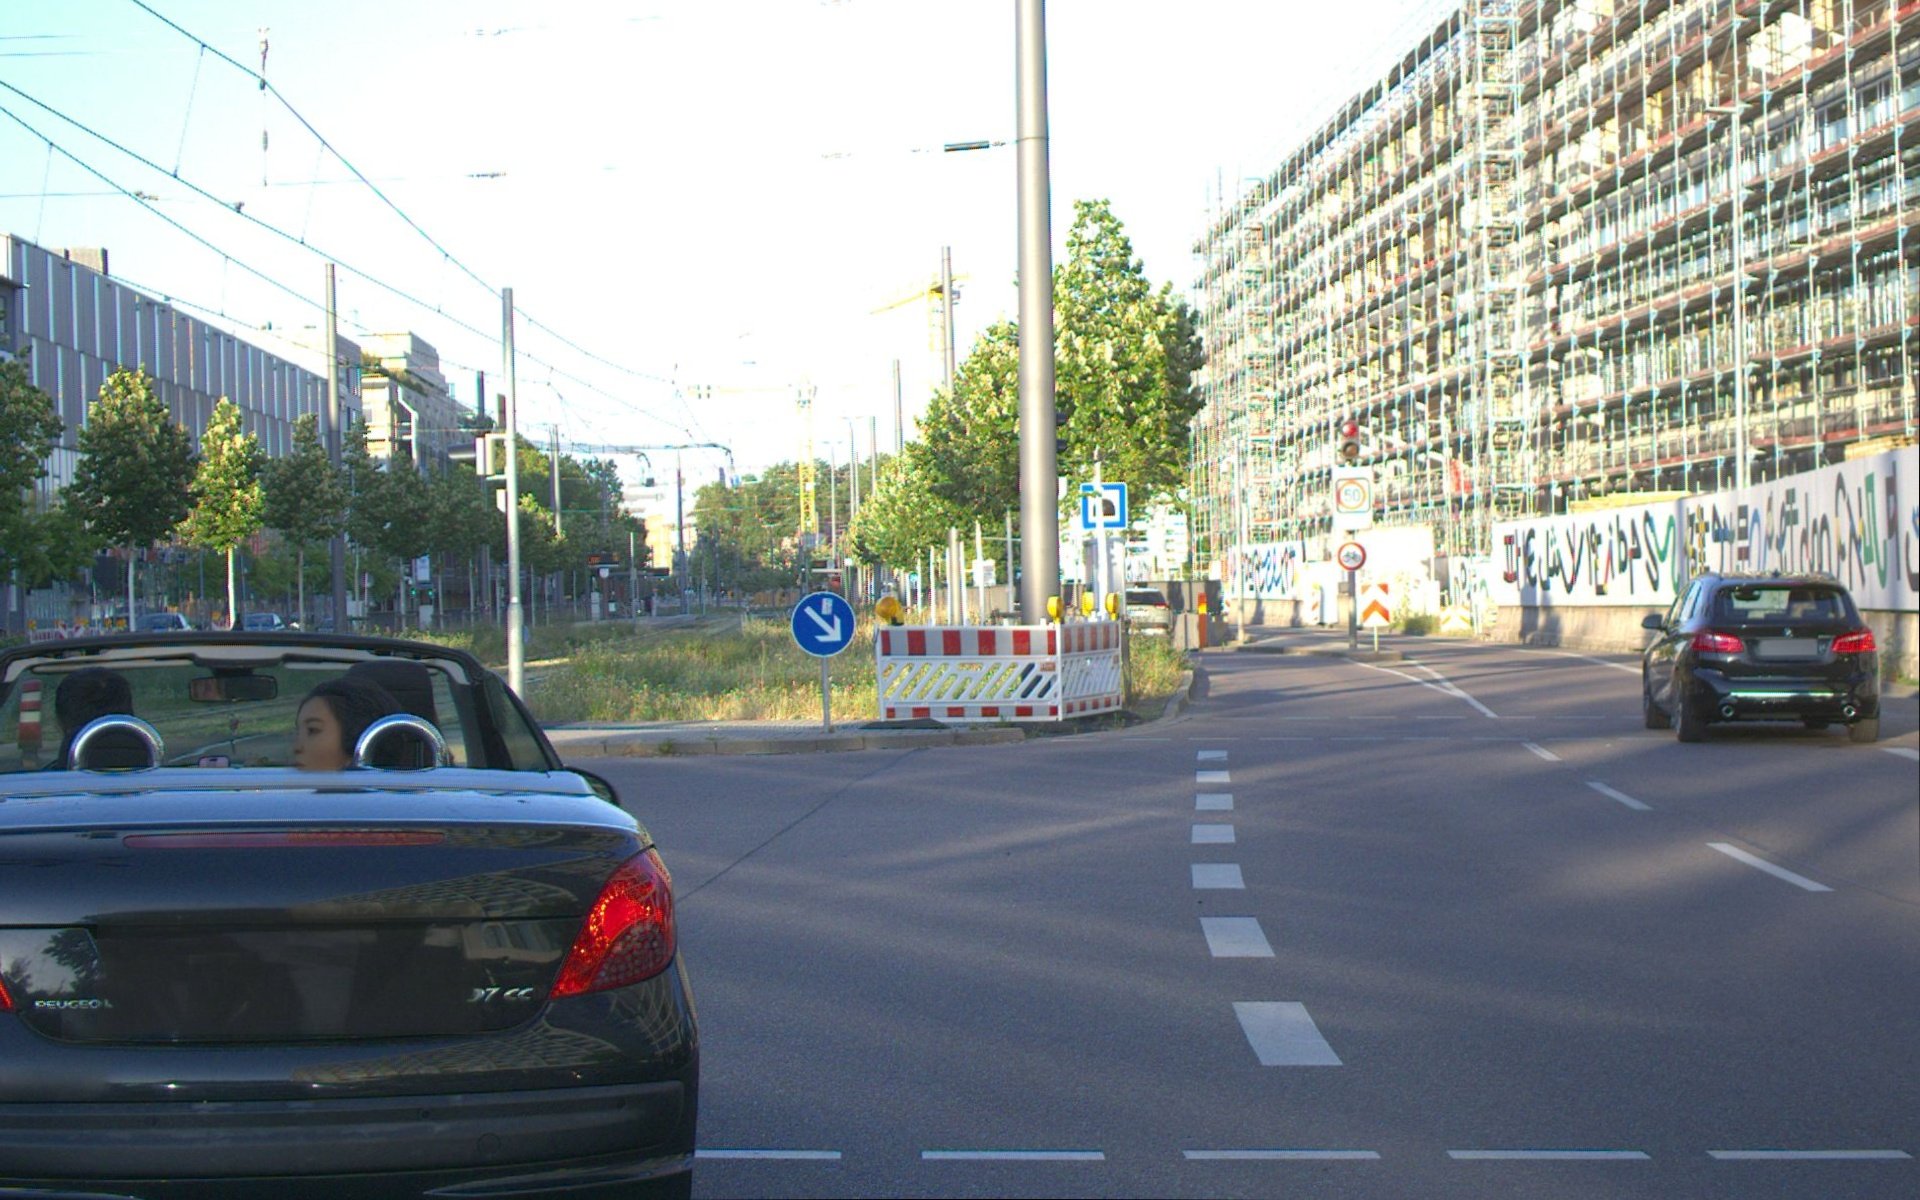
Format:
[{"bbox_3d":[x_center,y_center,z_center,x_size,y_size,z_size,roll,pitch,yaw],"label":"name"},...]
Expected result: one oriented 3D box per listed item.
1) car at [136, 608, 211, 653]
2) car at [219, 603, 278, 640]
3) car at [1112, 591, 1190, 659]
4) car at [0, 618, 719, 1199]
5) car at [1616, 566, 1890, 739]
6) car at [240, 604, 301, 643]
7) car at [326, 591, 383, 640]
[{"bbox_3d":[-26.111,1.005,114.257,1.657,1.426,3.895,1,1,-1],"label":"car"},{"bbox_3d":[-29.293,0.879,141.567,1.657,1.426,3.895,1,1,-1],"label":"car"},{"bbox_3d":[4.904,0.627,88.644,1.834,1.667,4.282,0,1,1],"label":"car"},{"bbox_3d":[-1.756,0.749,8.229,1.673,1.347,4.001,0,1,-14],"label":"car"},{"bbox_3d":[7.429,0.444,32.637,1.821,1.513,4.791,0,0,4],"label":"car"},{"bbox_3d":[-26.935,0.908,134.448,1.657,1.426,3.895,1,1,-1],"label":"car"},{"bbox_3d":[-25.031,0.624,142.208,1.657,1.957,4.266,1,0,-1],"label":"car"}]
